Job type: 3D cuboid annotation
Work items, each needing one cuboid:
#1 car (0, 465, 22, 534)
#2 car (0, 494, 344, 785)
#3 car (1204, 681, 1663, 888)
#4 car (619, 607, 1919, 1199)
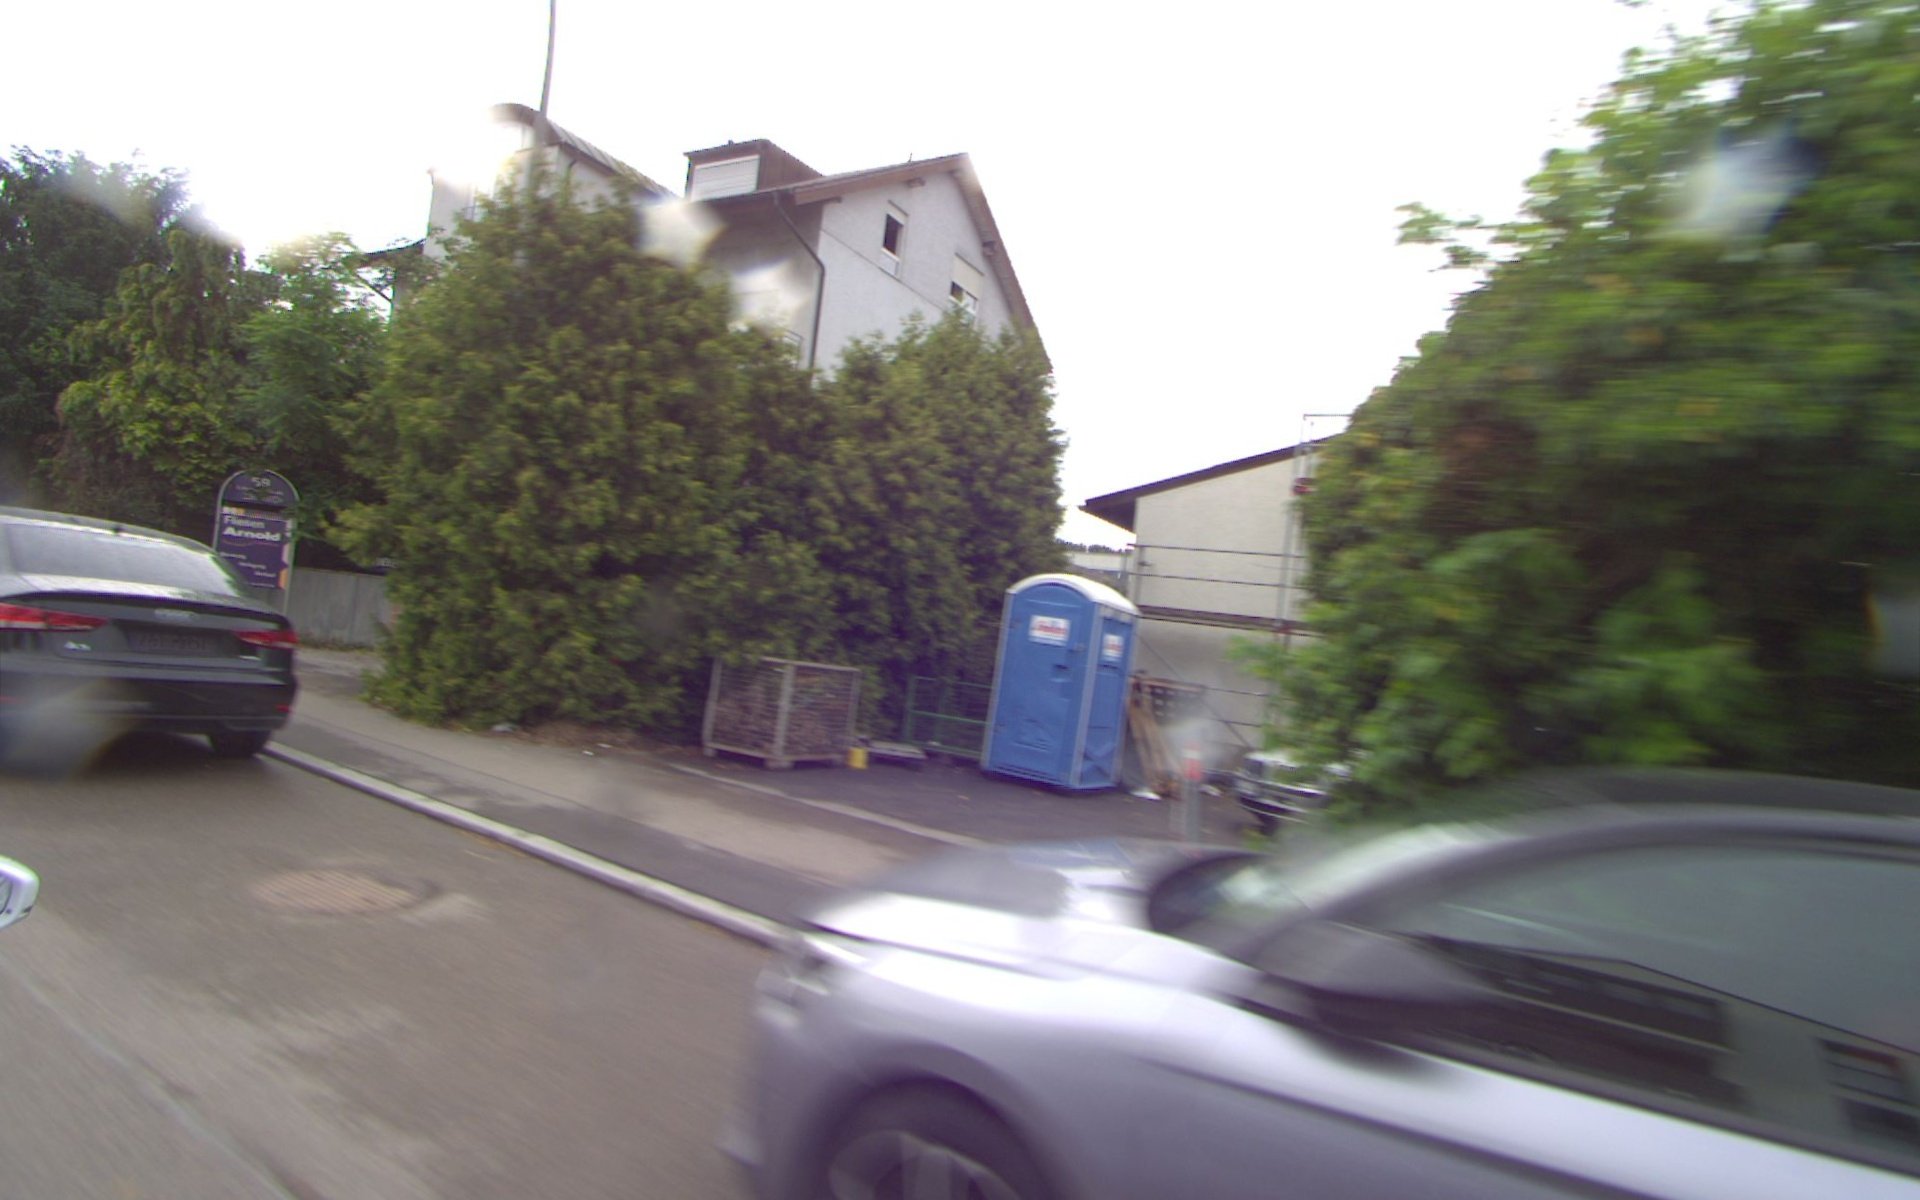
[{"bbox_3d":[-38.033,-4.085,36.854,2.205,2.550,4.809,7,-1,10],"label":"car"},{"bbox_3d":[-6.124,0.063,6.666,4.042,1.435,1.754,7,-1,32],"label":"car"},{"bbox_3d":[4.541,1.755,9.915,3.704,1.383,1.606,8,-3,-6],"label":"car"},{"bbox_3d":[1.434,1.019,1.941,3.974,1.457,1.655,7,-1,30],"label":"car"}]
